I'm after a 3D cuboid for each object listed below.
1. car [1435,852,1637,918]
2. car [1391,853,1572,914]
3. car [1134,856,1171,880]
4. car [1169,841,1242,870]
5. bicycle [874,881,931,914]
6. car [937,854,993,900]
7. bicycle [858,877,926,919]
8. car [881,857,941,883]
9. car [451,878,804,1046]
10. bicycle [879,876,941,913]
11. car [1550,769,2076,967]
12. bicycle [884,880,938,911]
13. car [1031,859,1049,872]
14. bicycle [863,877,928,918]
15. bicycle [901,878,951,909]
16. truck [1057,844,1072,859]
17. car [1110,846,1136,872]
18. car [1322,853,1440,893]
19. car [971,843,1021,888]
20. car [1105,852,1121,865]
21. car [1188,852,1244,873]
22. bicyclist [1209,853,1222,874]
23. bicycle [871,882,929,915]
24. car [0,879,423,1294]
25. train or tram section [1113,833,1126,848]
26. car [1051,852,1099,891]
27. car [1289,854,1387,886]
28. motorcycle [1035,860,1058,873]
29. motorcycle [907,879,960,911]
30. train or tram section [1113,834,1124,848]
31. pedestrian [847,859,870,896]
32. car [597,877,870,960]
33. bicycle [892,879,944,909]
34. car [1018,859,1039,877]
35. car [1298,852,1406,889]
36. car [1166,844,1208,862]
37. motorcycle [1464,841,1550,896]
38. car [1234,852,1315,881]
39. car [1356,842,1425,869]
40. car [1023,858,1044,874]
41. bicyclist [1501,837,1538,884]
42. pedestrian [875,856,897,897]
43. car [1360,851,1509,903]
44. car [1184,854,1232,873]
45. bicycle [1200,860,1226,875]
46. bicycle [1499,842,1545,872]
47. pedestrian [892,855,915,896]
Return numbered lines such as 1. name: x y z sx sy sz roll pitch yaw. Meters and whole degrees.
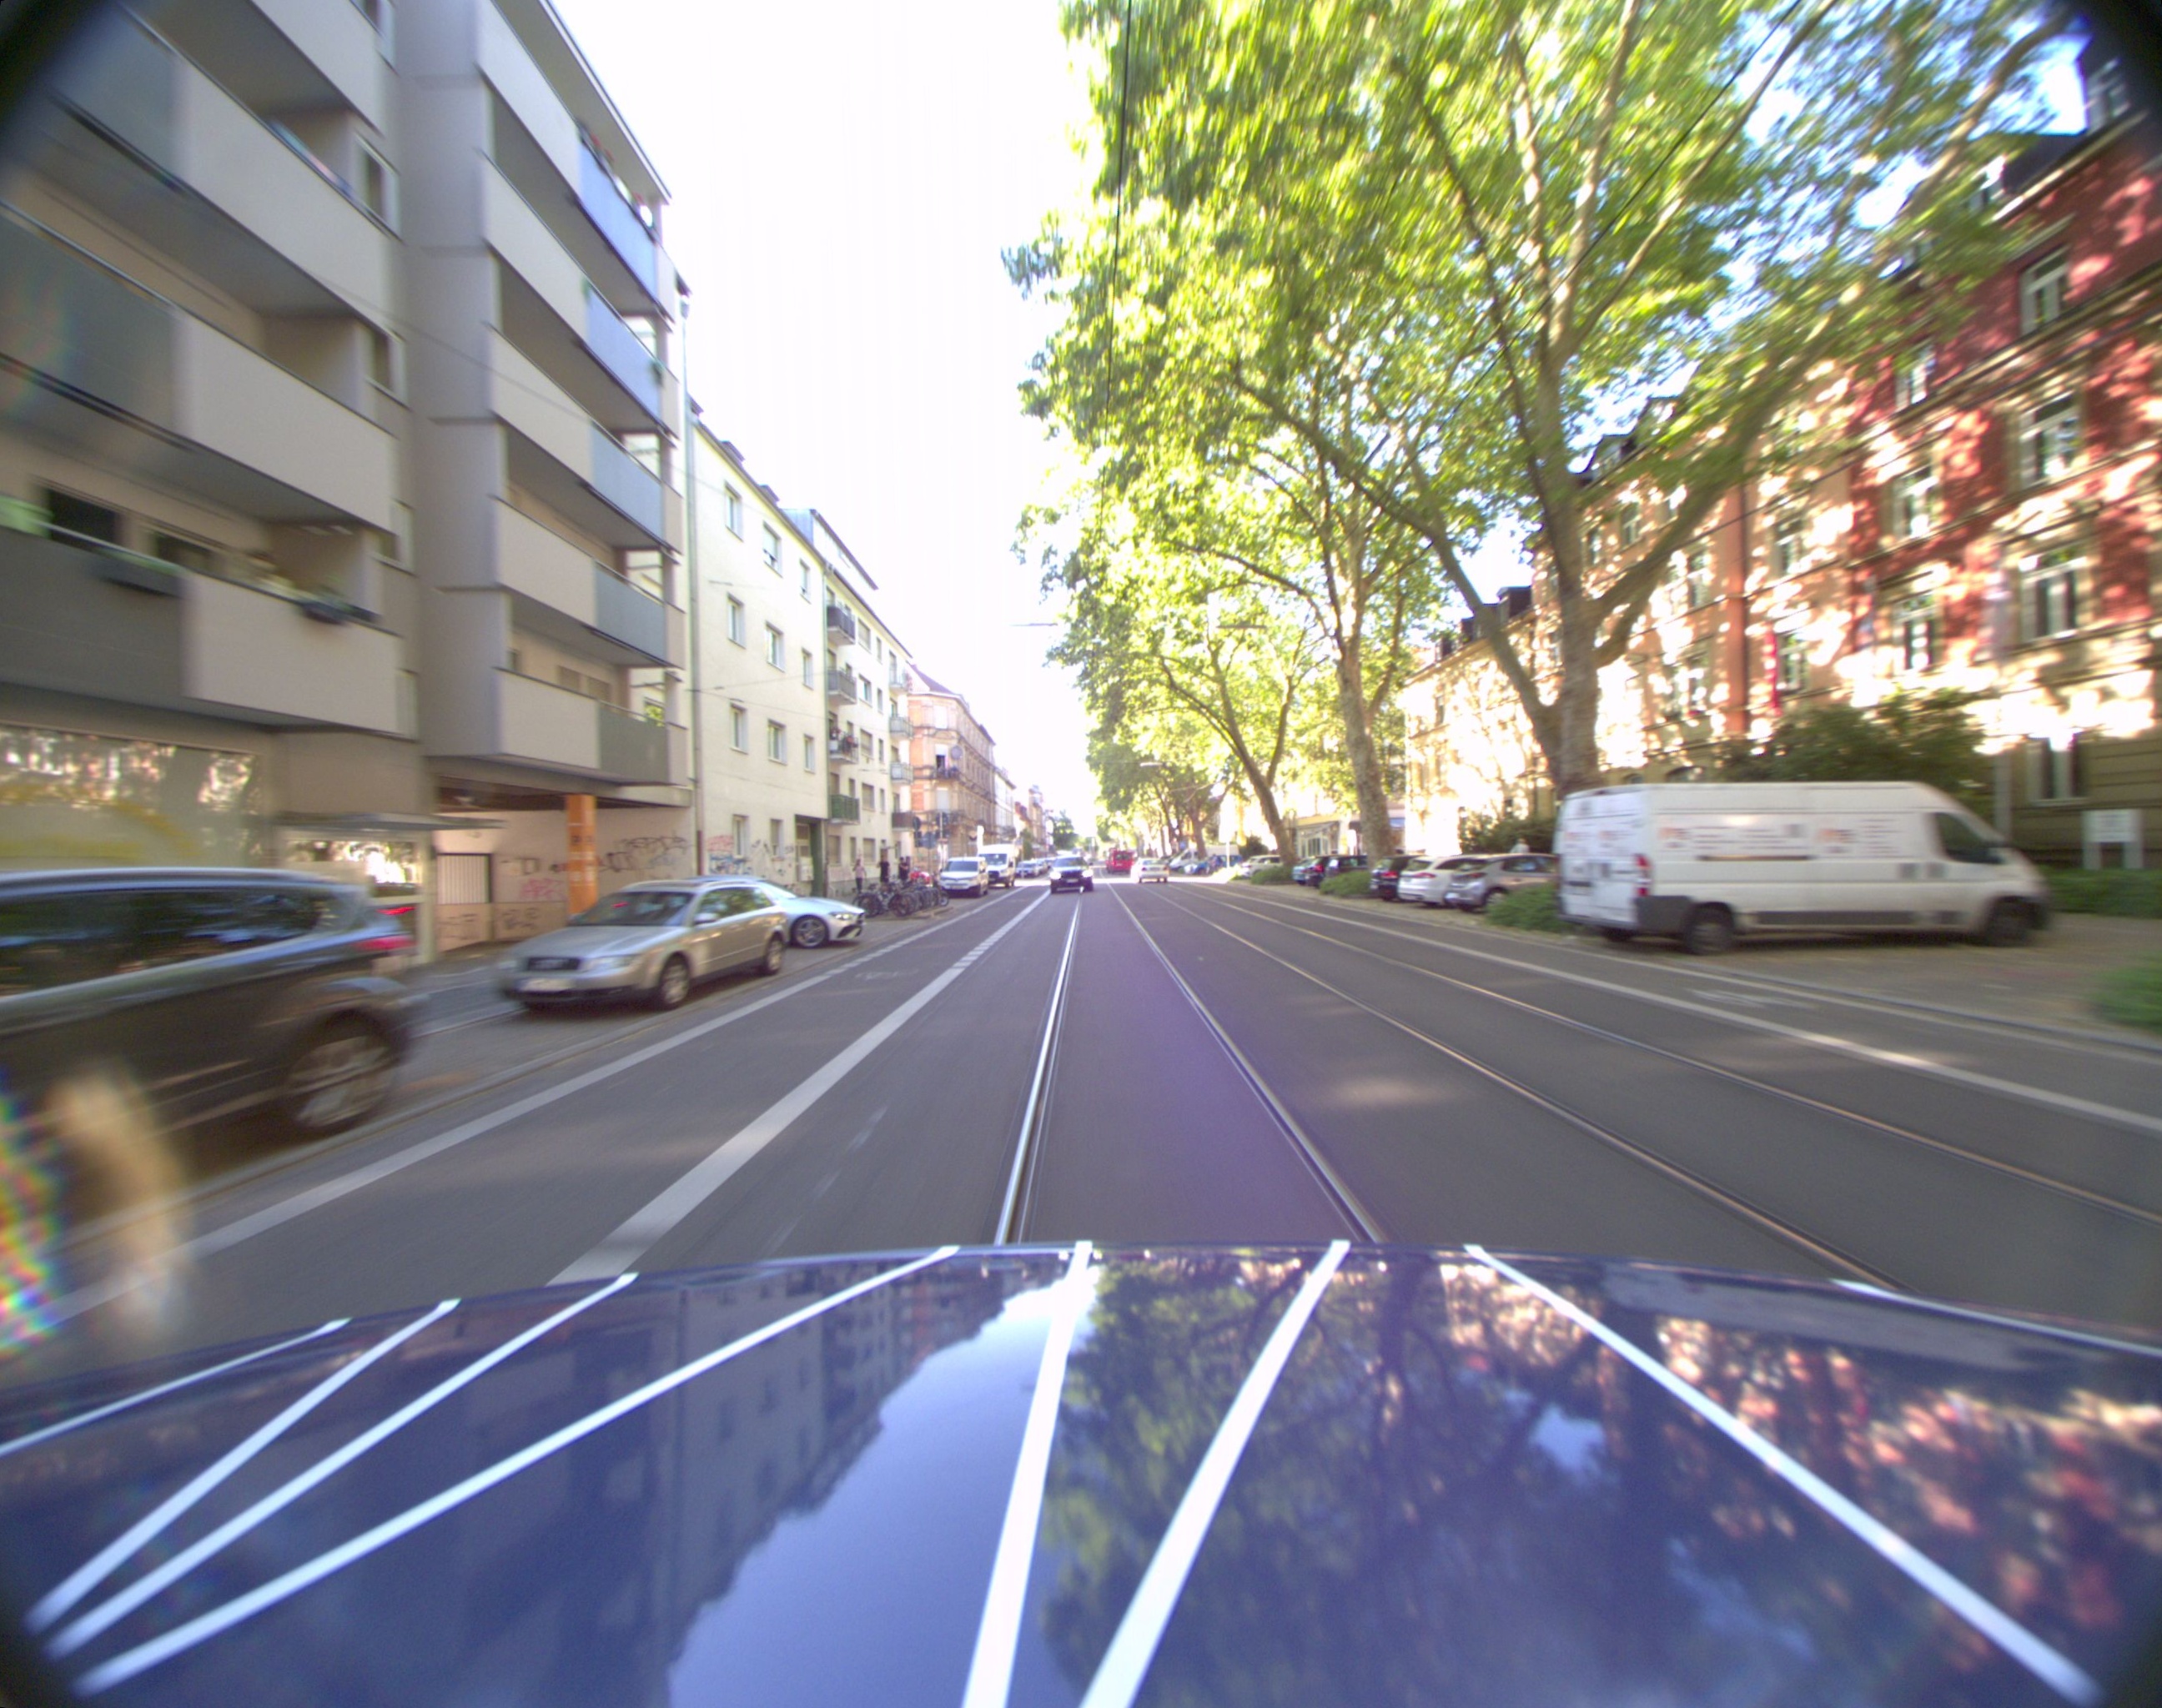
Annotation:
1. car: 10.890 0.728 18.383 3.817 1.424 1.704 -2 0 3
2. car: 10.901 0.777 20.897 3.996 1.487 1.830 -1 0 1
3. car: 4.223 0.800 45.606 1.722 1.351 4.469 -1 0 -1
4. car: 11.991 0.108 73.454 6.618 2.393 2.000 -3 0 1
5. bicycle: -5.583 1.360 23.789 1.657 1.015 0.457 1 1 1
6. car: -5.254 0.998 35.003 1.863 1.810 4.350 2 1 0
7. bicycle: -5.548 1.297 22.326 1.897 1.184 0.457 1 1 1
8. car: -11.843 1.116 53.038 3.658 1.565 1.790 -3 1 3
9. car: -5.425 1.171 9.952 1.728 1.516 4.513 -1 0 2
10. bicycle: -5.486 1.295 24.431 1.798 1.141 0.704 1 1 1
11. car: 10.666 0.203 11.477 5.755 2.521 2.162 -2 0 1
12. bicycle: -5.620 1.362 25.161 1.657 0.981 0.457 1 1 1
13. car: -4.245 1.190 78.725 1.653 1.265 3.724 0 1 0
14. bicycle: -5.565 1.289 22.798 1.828 1.184 0.457 1 1 1
15. bicycle: -5.376 1.375 26.364 1.657 1.049 0.457 1 1 1
16. truck: -3.611 -0.615 169.149 2.842 3.145 7.292 -3 1 0
17. car: 3.788 0.459 69.815 1.922 2.214 4.959 -1 0 -2
18. car: 11.748 0.718 29.943 3.996 1.452 1.704 -1 0 3
19. car: -4.966 0.627 45.344 2.154 2.481 6.088 -2 0 0
20. car: 3.744 0.486 88.945 1.722 1.501 3.722 -1 0 0
21. car: 11.354 0.702 64.023 4.331 1.702 1.816 -1 0 -2
22. bicyclist: 10.100 0.705 57.008 0.868 1.517 0.737 -1 0 9
23. bicycle: -5.542 1.365 23.285 1.657 0.960 0.457 1 1 1
24. car: -5.503 1.047 3.149 1.771 1.695 4.282 -1 0 0
25. train or tram section: 9.795 -3.392 193.973 2.944 3.598 11.062 -3 1 2
26. car: -0.222 0.811 36.622 1.948 1.694 4.632 -2 -1 3
27. car: 11.934 0.712 35.414 3.998 1.361 1.604 -1 0 -5
28. motorcycle: -3.466 1.237 75.947 2.143 1.281 0.642 -2 1 -21
29. motorcycle: -5.296 1.444 27.250 1.820 1.074 0.618 0 1 24
30. train or tram section: 10.643 -3.758 216.973 2.944 3.598 12.410 -3 1 2
31. pedestrian: -9.972 1.028 34.086 0.633 1.571 0.933 4 1 3
32. car: -6.700 1.215 15.183 4.629 1.429 1.863 0 0 -10
33. bicycle: -5.524 1.350 25.815 1.657 0.981 0.457 1 1 1
34. car: -4.560 1.194 66.370 1.653 1.412 4.059 0 1 -1
35. car: 11.632 0.688 32.744 4.000 1.452 1.769 -1 0 -8
36. car: 12.223 -0.103 87.927 4.637 1.896 1.922 -3 0 4
37. motorcycle: 13.687 0.429 24.545 1.054 1.622 3.011 -3 1 1
38. car: 10.687 0.674 42.241 3.997 1.452 1.879 -1 0 0
39. car: 23.936 0.108 58.834 4.580 1.870 2.129 -1 3 9
40. car: -4.479 1.155 71.982 1.606 1.412 4.013 0 1 1
41. bicyclist: 17.022 0.254 29.510 0.832 1.752 1.048 -2 1 0
42. pedestrian: -8.718 0.993 34.024 0.626 1.812 1.082 0 1 3
43. car: 10.880 0.687 23.548 3.802 1.452 1.704 -1 0 2
44. car: 11.063 0.818 66.344 3.779 1.509 1.747 -1 0 -2
45. bicycle: 9.878 1.017 57.008 1.874 1.025 0.629 -1 0 9
46. bicycle: 17.037 0.110 29.400 0.744 1.132 1.780 -2 0 1
47. pedestrian: -7.907 0.949 33.861 0.711 1.812 1.082 0 1 3
